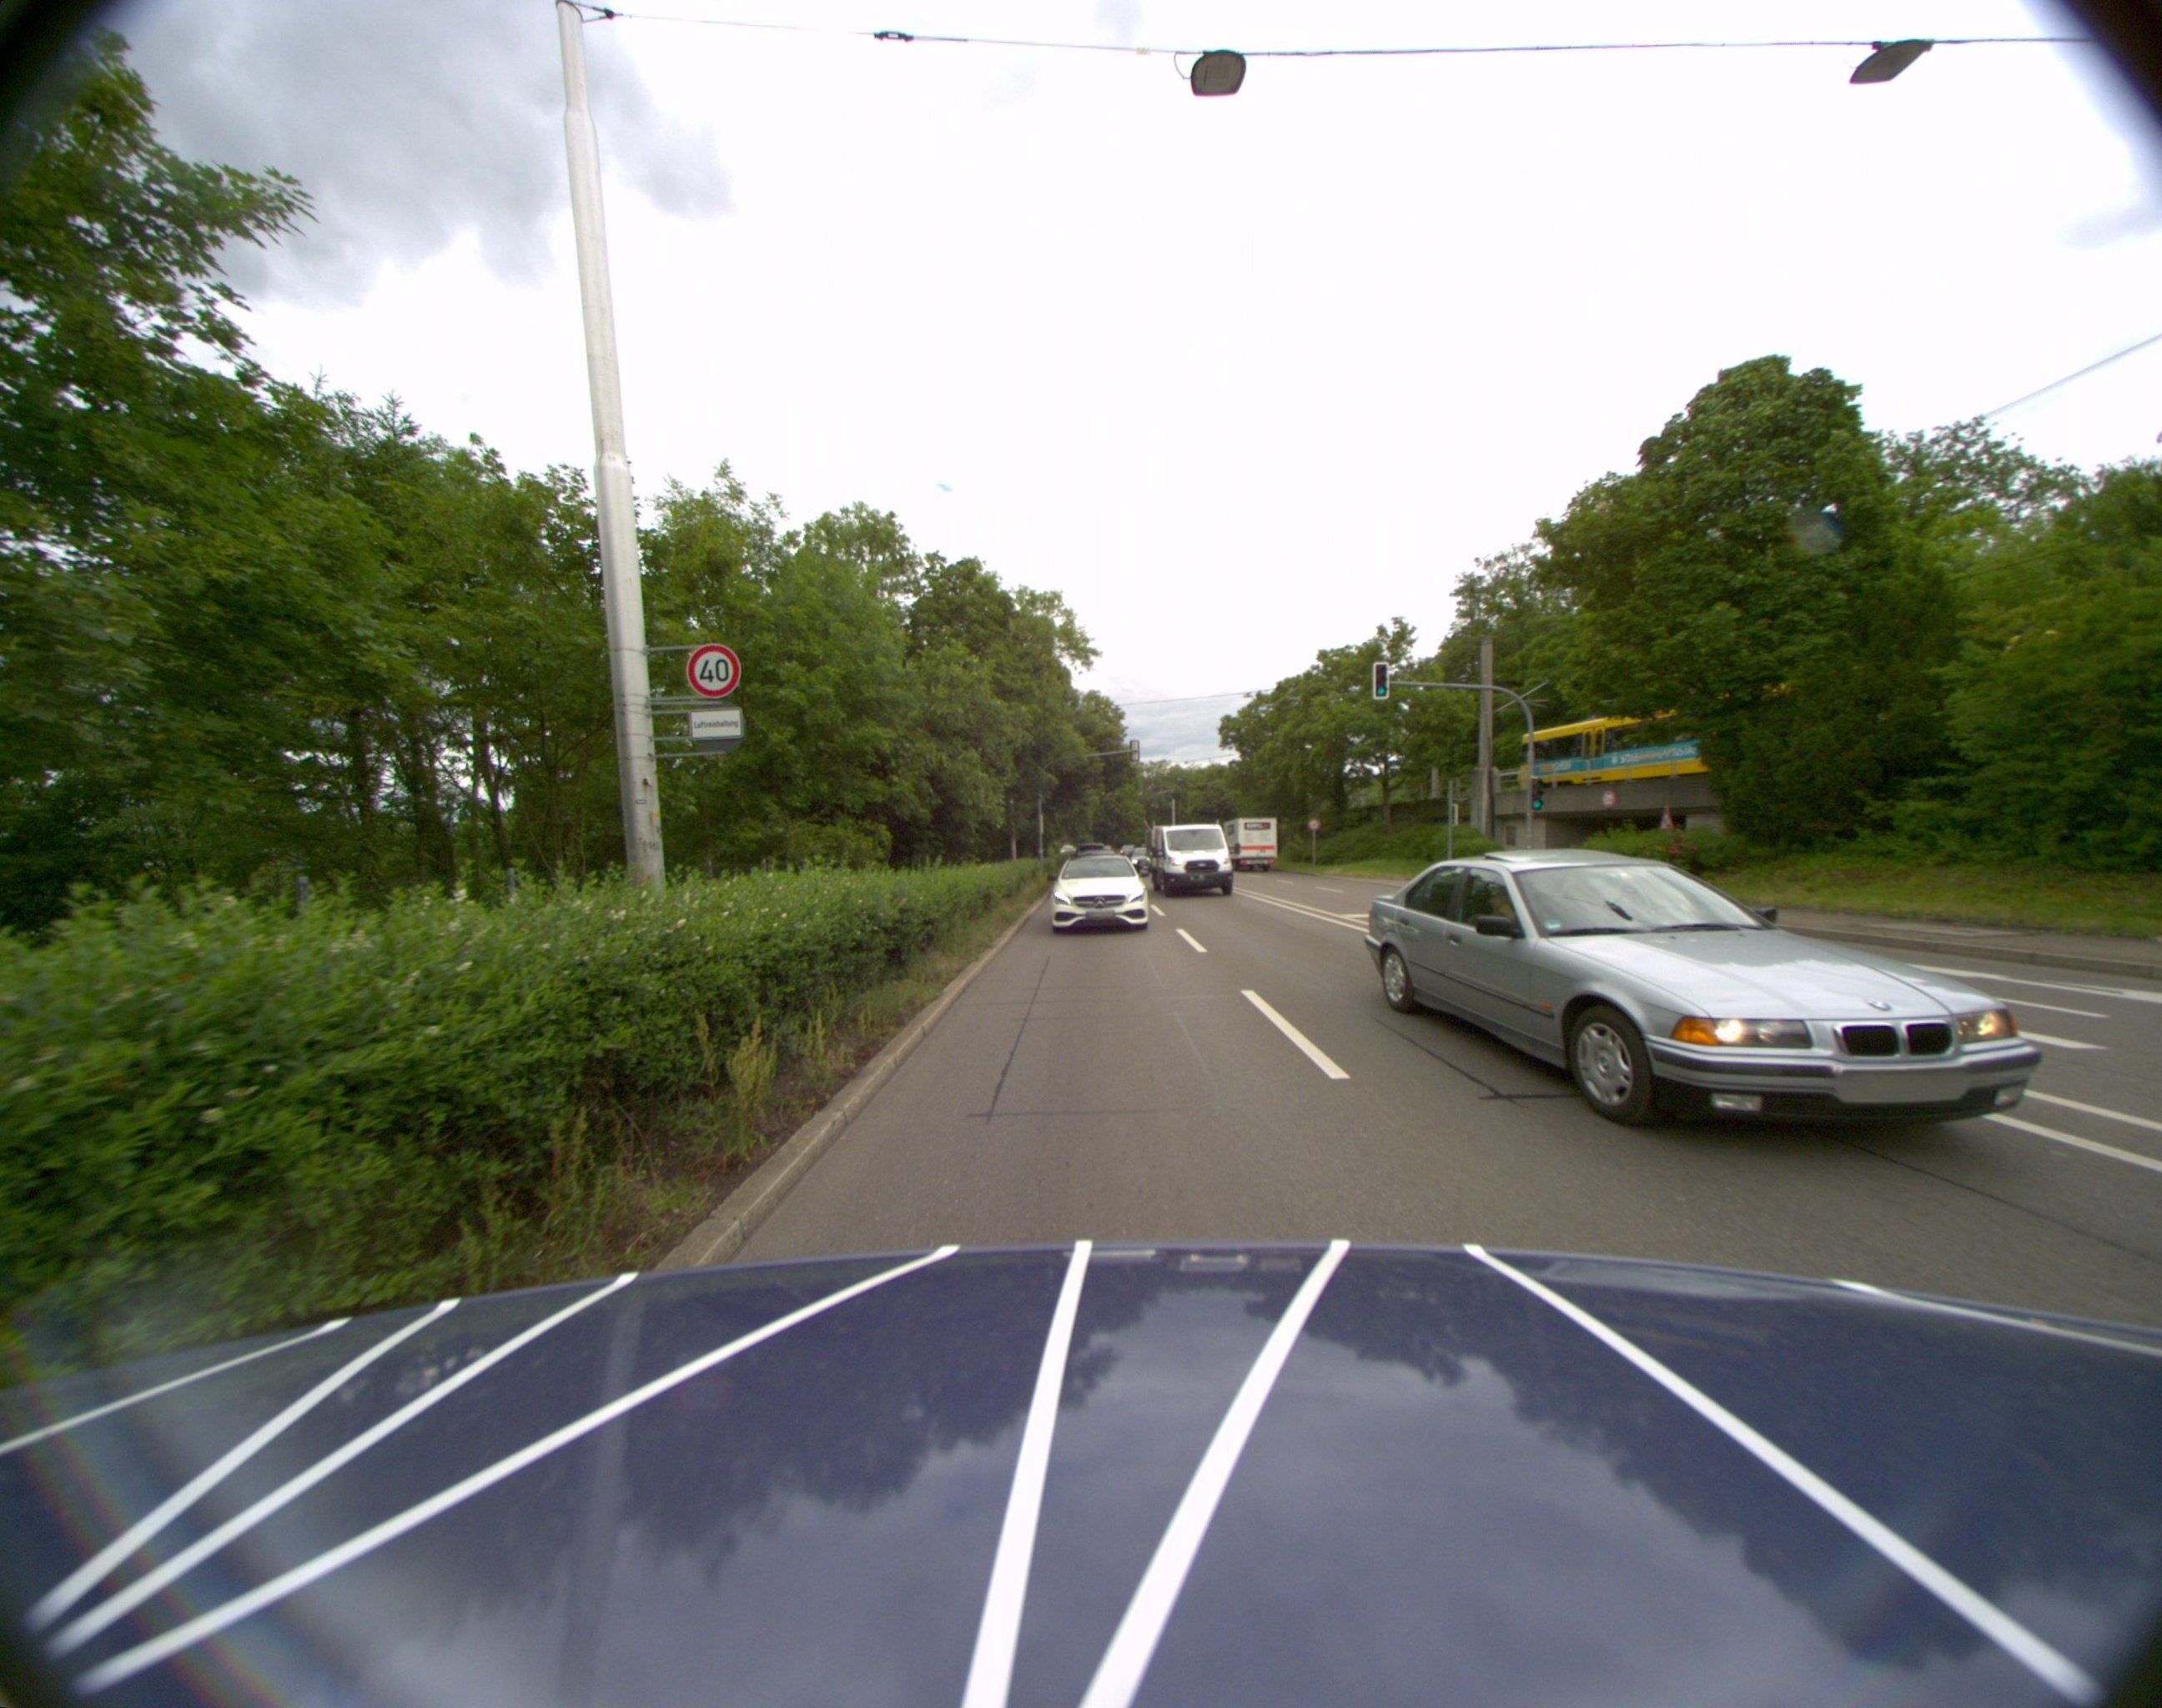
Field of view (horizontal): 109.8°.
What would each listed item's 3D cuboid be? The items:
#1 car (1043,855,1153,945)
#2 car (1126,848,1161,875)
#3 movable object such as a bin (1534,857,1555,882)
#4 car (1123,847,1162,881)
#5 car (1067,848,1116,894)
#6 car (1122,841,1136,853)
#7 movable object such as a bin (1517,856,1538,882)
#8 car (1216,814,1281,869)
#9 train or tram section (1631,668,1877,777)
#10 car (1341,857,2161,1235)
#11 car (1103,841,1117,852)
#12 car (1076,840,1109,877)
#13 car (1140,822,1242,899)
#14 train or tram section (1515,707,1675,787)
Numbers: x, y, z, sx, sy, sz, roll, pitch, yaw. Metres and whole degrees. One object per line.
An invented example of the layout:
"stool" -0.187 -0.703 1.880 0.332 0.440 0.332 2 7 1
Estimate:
"car" 0.300 0.768 14.686 1.807 1.385 4.283 -1 1 0
"car" 3.747 0.423 46.424 1.678 1.532 4.614 -1 1 -1
"movable object such as a bin" 19.671 0.650 32.261 0.544 1.070 0.563 1 1 -1
"car" 2.999 0.430 37.820 1.677 1.532 4.552 -1 1 1
"car" 0.345 0.558 28.441 1.678 1.532 4.613 -1 1 -1
"car" 6.481 -0.932 102.805 1.677 1.532 4.616 -1 1 5
"movable object such as a bin" 18.997 0.645 32.310 0.544 1.092 0.563 1 1 -1
"car" 10.184 -0.771 46.946 2.276 3.039 7.234 -2 1 -1
"train or tram section" 25.664 -4.858 29.689 2.063 3.027 8.146 -3 2 -3
"car" 3.473 0.776 5.319 1.757 1.385 4.614 -1 1 0
"car" 4.088 -1.038 105.269 1.677 1.532 4.616 -1 1 5
"car" 0.613 0.220 44.430 1.826 2.059 4.614 -1 1 -1
"car" 3.400 0.136 25.034 2.253 2.114 6.667 -2 1 -1
"train or tram section" 25.193 -5.113 37.876 2.063 3.027 8.146 -3 2 -3
